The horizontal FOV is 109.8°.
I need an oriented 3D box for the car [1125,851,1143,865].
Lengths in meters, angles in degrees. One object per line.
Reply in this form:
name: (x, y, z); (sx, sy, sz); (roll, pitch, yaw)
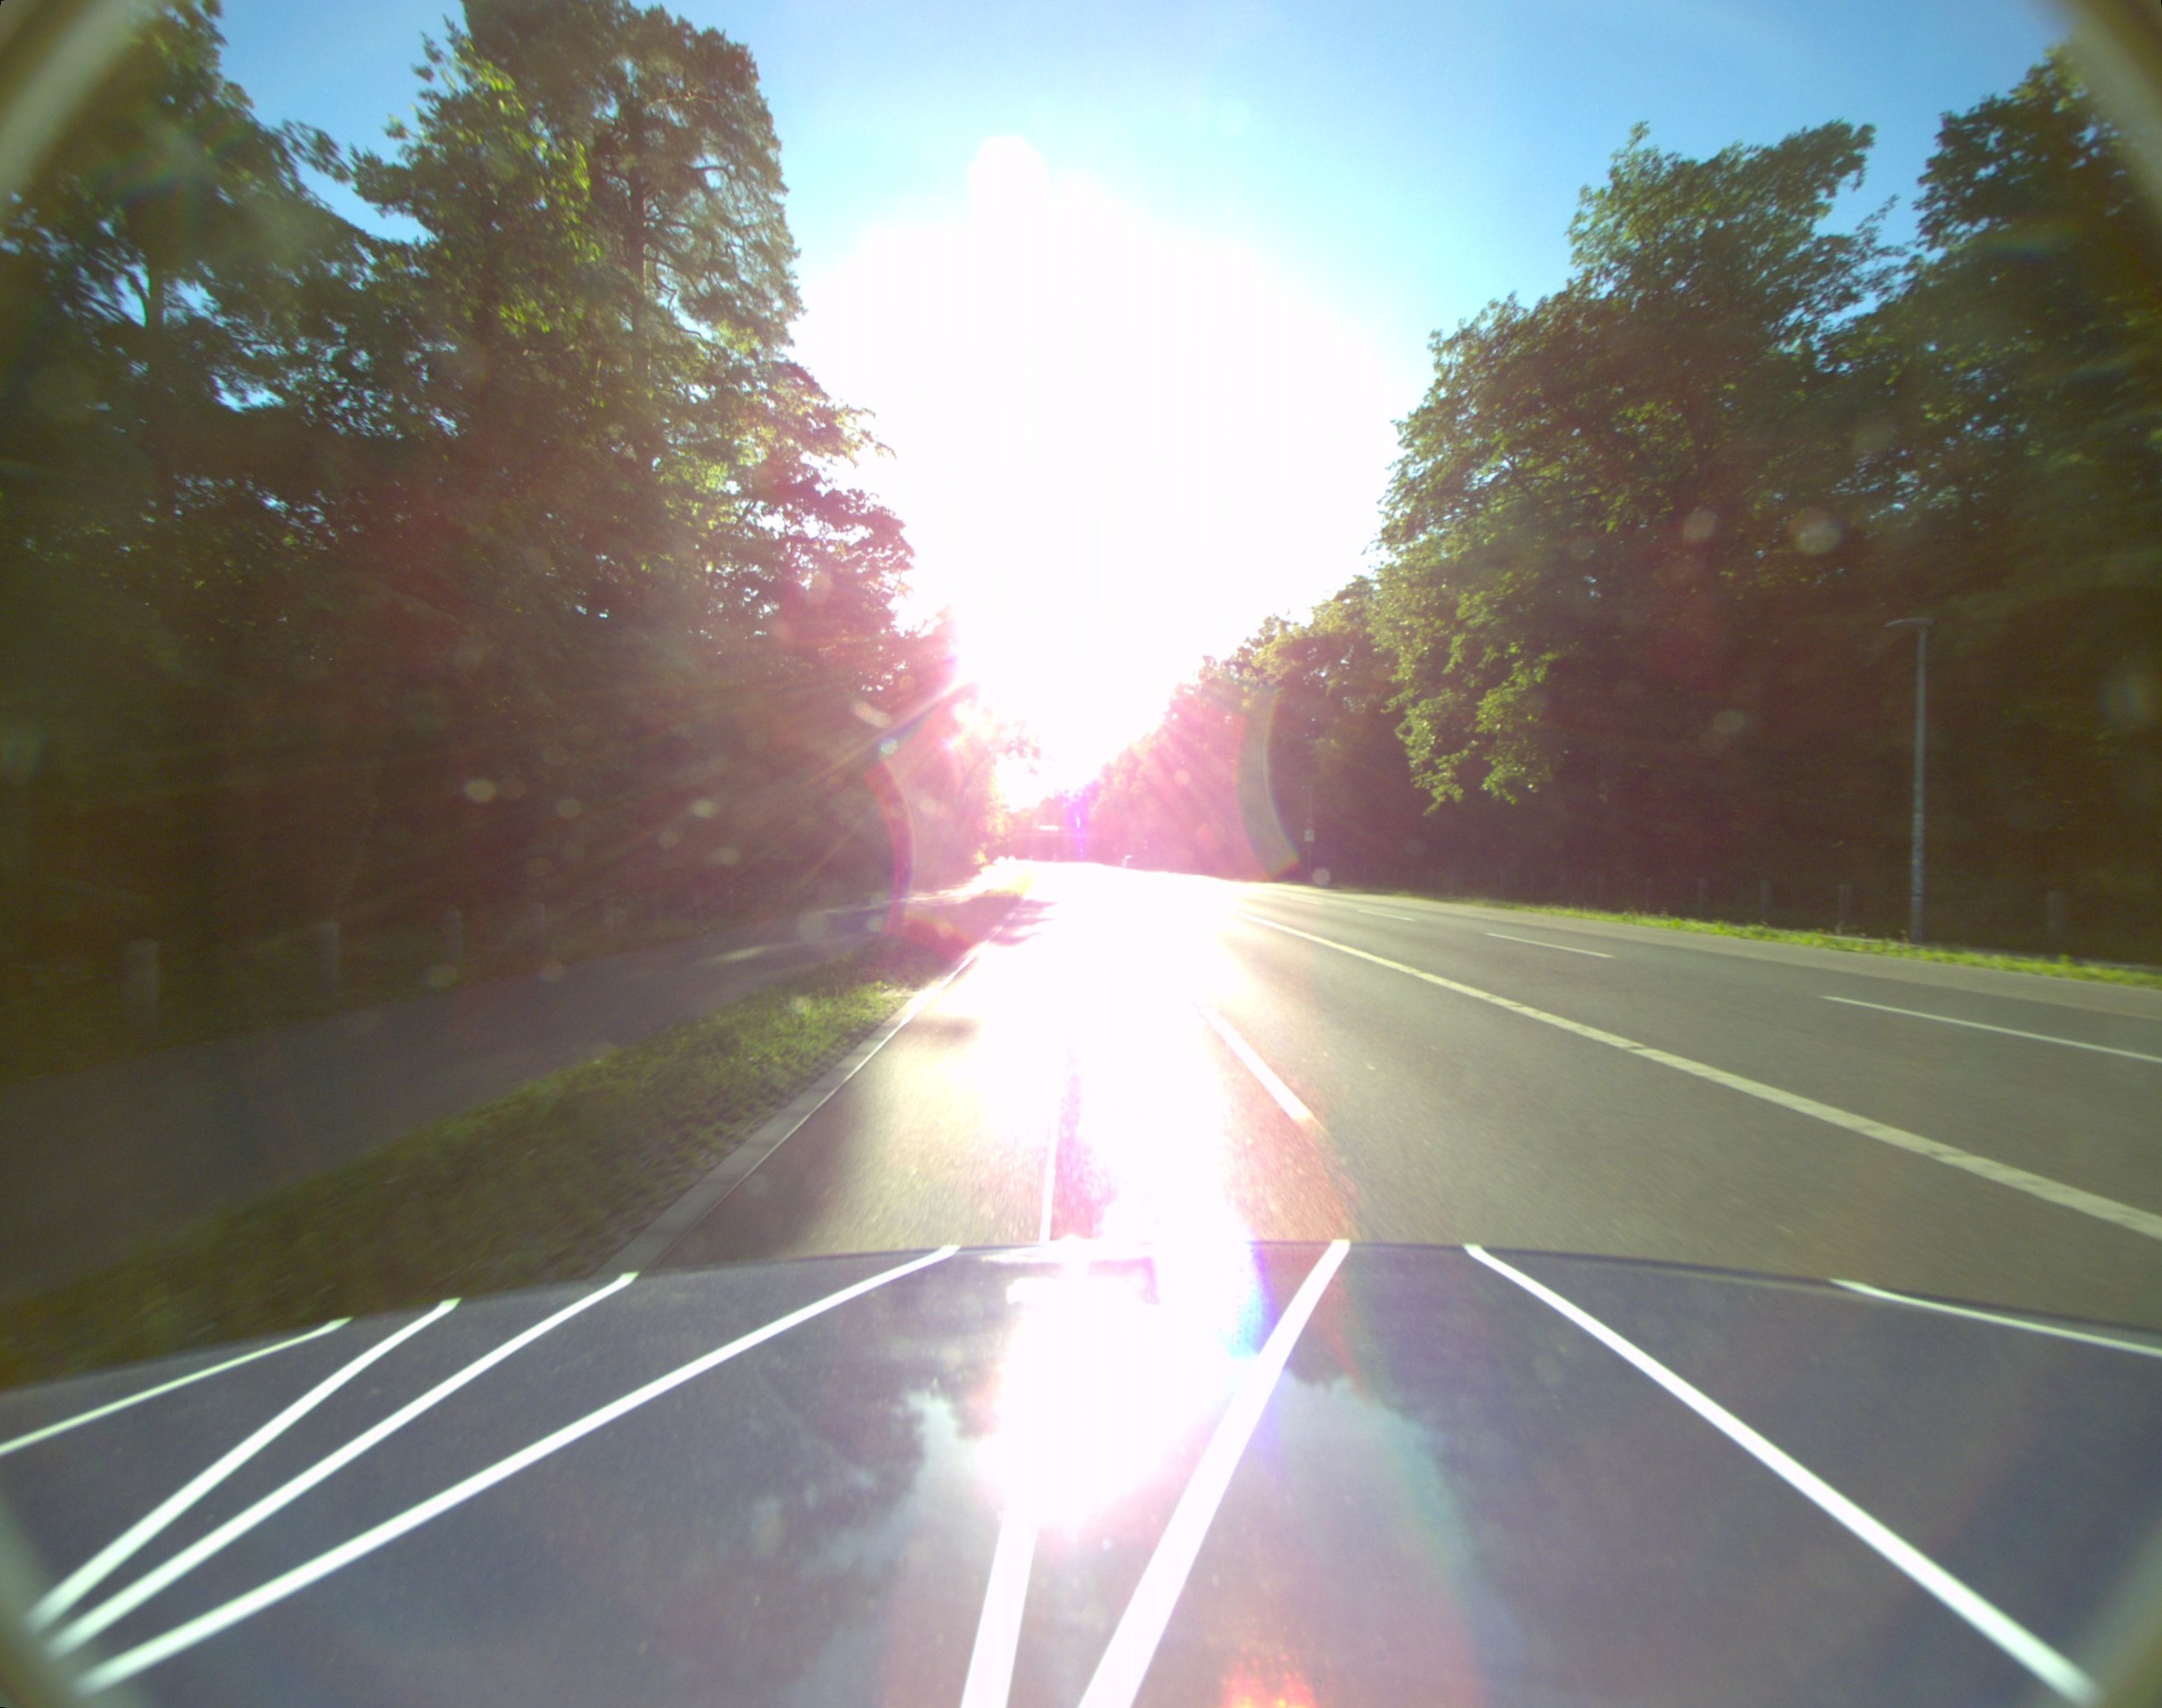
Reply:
car: (5.961, 0.449, 86.353); (1.591, 1.429, 4.308); (-3, 0, -2)

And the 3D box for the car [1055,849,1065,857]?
car: (-5.120, -0.336, 183.678); (2.007, 1.815, 4.996); (-3, 1, -6)

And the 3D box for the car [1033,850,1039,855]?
car: (-13.979, -0.538, 235.759); (1.518, 1.457, 4.310); (-2, 0, -9)
